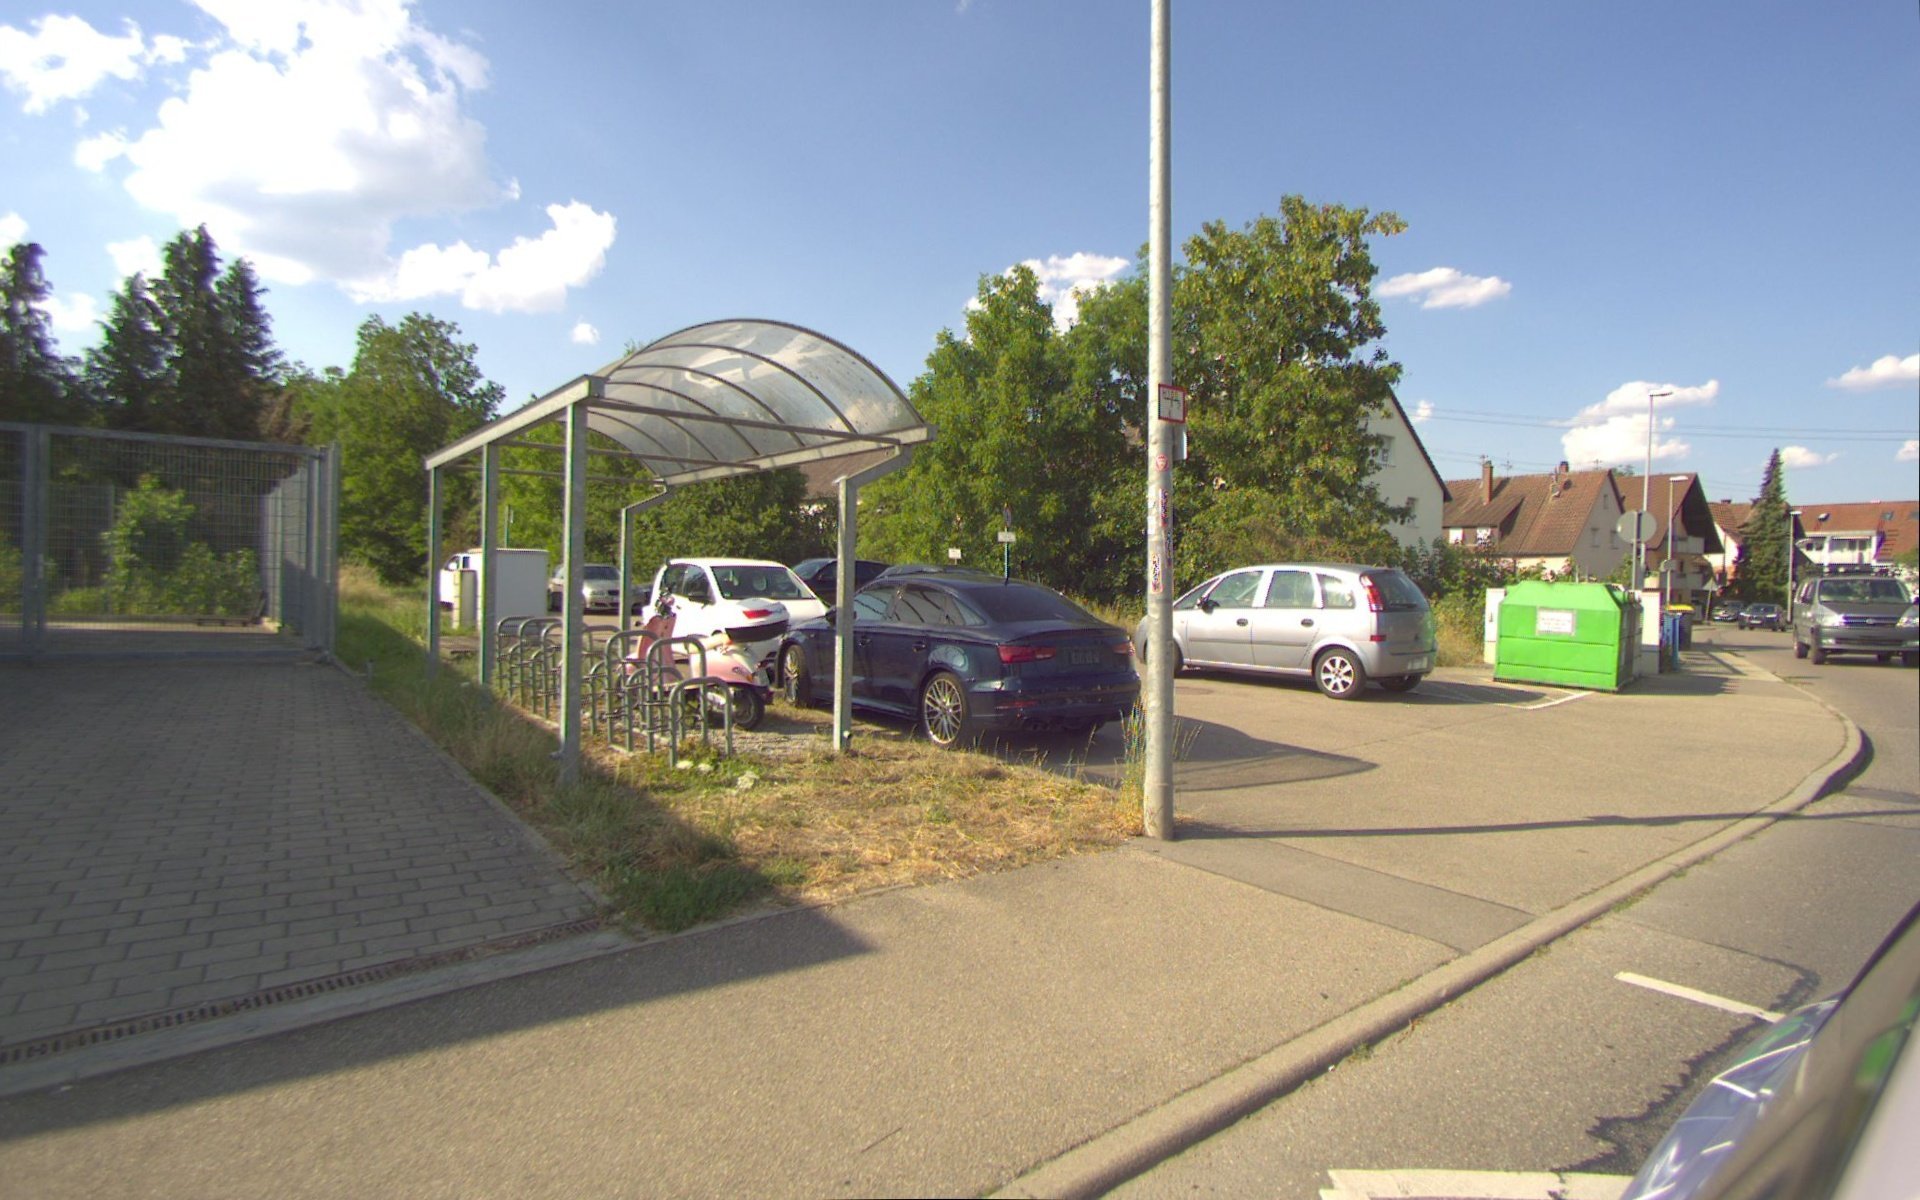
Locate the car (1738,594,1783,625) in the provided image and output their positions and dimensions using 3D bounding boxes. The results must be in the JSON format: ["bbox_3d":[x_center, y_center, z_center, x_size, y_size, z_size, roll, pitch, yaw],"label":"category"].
[{"bbox_3d":[47.675,0.543,60.263,1.965,1.676,3.943,4,3,39],"label":"car"}]

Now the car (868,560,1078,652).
[{"bbox_3d":[0.131,0.028,18.541,1.653,1.466,3.947,-1,3,-41],"label":"car"}]

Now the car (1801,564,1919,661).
[{"bbox_3d":[20.835,0.218,23.324,1.809,2.025,4.760,0,1,35],"label":"car"}]

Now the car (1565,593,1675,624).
[{"bbox_3d":[34.329,0.419,52.715,1.698,1.476,4.478,0,1,-36],"label":"car"}]

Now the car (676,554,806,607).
[{"bbox_3d":[-6.714,-0.596,31.128,3.510,1.518,1.682,0,2,-38],"label":"car"}]

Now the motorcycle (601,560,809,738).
[{"bbox_3d":[-2.236,0.371,8.787,1.817,1.340,0.633,4,2,32],"label":"motorcycle"}]

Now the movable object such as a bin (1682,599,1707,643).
[{"bbox_3d":[19.848,0.556,27.348,0.477,1.157,0.532,2,1,33],"label":"movable object such as a bin"}]

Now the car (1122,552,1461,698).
[{"bbox_3d":[4.207,0.198,13.328,1.653,1.623,3.947,-1,3,-41],"label":"car"}]

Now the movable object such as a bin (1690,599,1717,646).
[{"bbox_3d":[18.790,0.556,25.582,0.477,1.157,0.532,2,1,33],"label":"movable object such as a bin"}]

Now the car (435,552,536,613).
[{"bbox_3d":[-12.978,-0.511,27.552,1.703,1.530,4.189,0,2,-36],"label":"car"}]

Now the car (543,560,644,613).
[{"bbox_3d":[-10.541,-0.426,28.942,1.596,1.392,4.189,0,2,-36],"label":"car"}]

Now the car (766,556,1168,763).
[{"bbox_3d":[-0.161,0.370,9.566,1.596,1.434,4.077,0,3,-38],"label":"car"}]

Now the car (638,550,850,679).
[{"bbox_3d":[-2.983,0.101,13.509,1.470,1.434,3.449,0,3,-36],"label":"car"}]

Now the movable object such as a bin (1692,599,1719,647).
[{"bbox_3d":[18.491,0.572,25.111,0.477,1.157,0.532,2,1,33],"label":"movable object such as a bin"}]

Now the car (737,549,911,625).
[{"bbox_3d":[-3.200,-0.329,24.301,3.886,1.673,1.679,0,2,-44],"label":"car"}]

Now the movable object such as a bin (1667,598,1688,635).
[{"bbox_3d":[23.049,0.519,32.521,0.477,1.157,0.532,2,1,33],"label":"movable object such as a bin"}]
